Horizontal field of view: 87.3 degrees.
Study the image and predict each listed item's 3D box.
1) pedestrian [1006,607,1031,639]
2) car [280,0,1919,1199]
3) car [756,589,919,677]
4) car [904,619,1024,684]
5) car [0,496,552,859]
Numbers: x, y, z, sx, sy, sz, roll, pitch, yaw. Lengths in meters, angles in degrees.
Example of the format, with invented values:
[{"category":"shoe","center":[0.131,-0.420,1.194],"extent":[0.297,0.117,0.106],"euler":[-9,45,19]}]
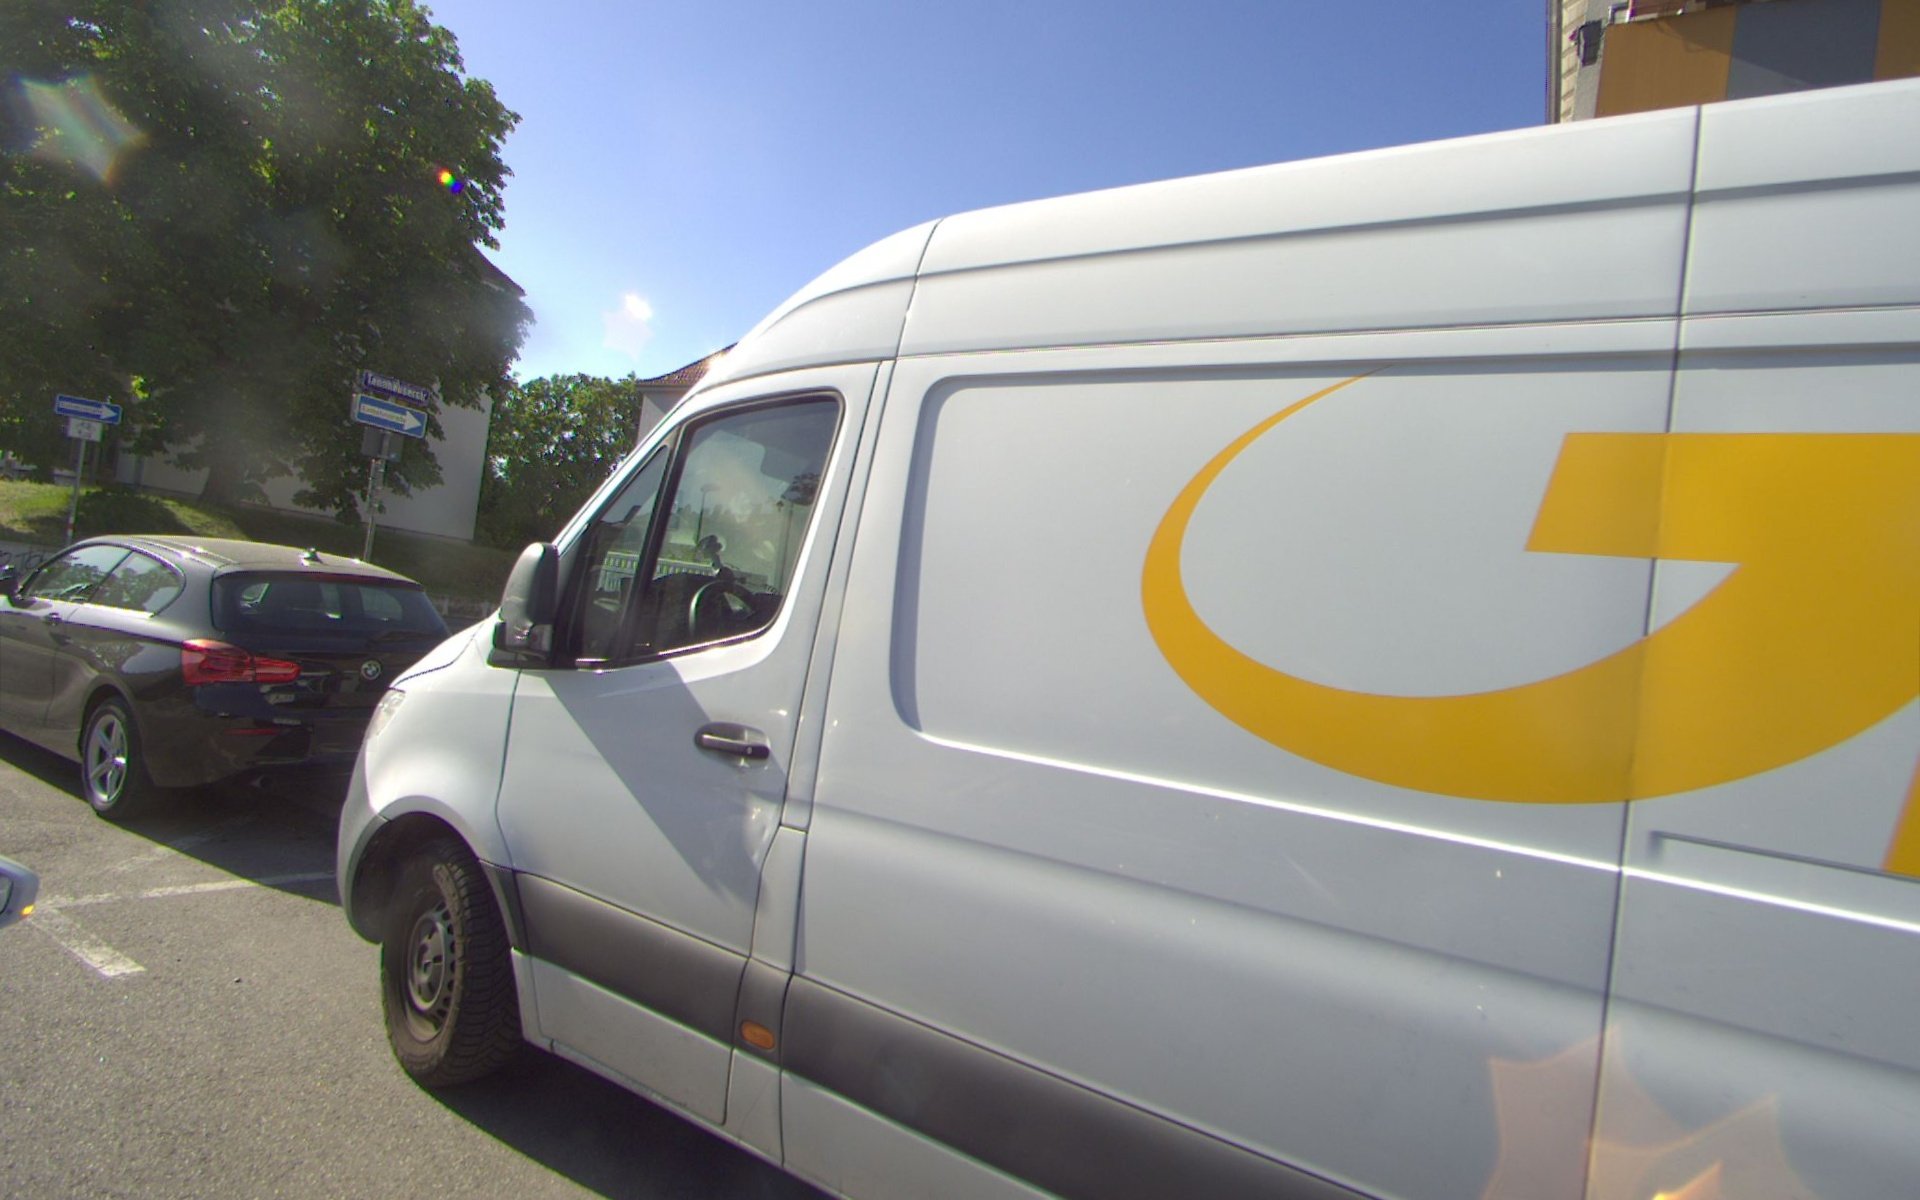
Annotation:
[{"category":"pedestrian","center":[3.486,1.379,60.303],"extent":[0.957,1.735,0.945],"euler":[8,-1,30]},{"category":"car","center":[1.317,0.425,2.375],"extent":[6.728,2.746,2.145],"euler":[7,0,32]},{"category":"car","center":[-3.085,0.918,26.222],"extent":[1.838,1.750,4.291],"euler":[8,-2,30]},{"category":"car","center":[0.211,1.690,32.368],"extent":[1.955,1.610,4.122],"euler":[8,-2,29]},{"category":"car","center":[-5.002,0.260,6.533],"extent":[4.422,1.500,1.962],"euler":[7,0,30]}]
